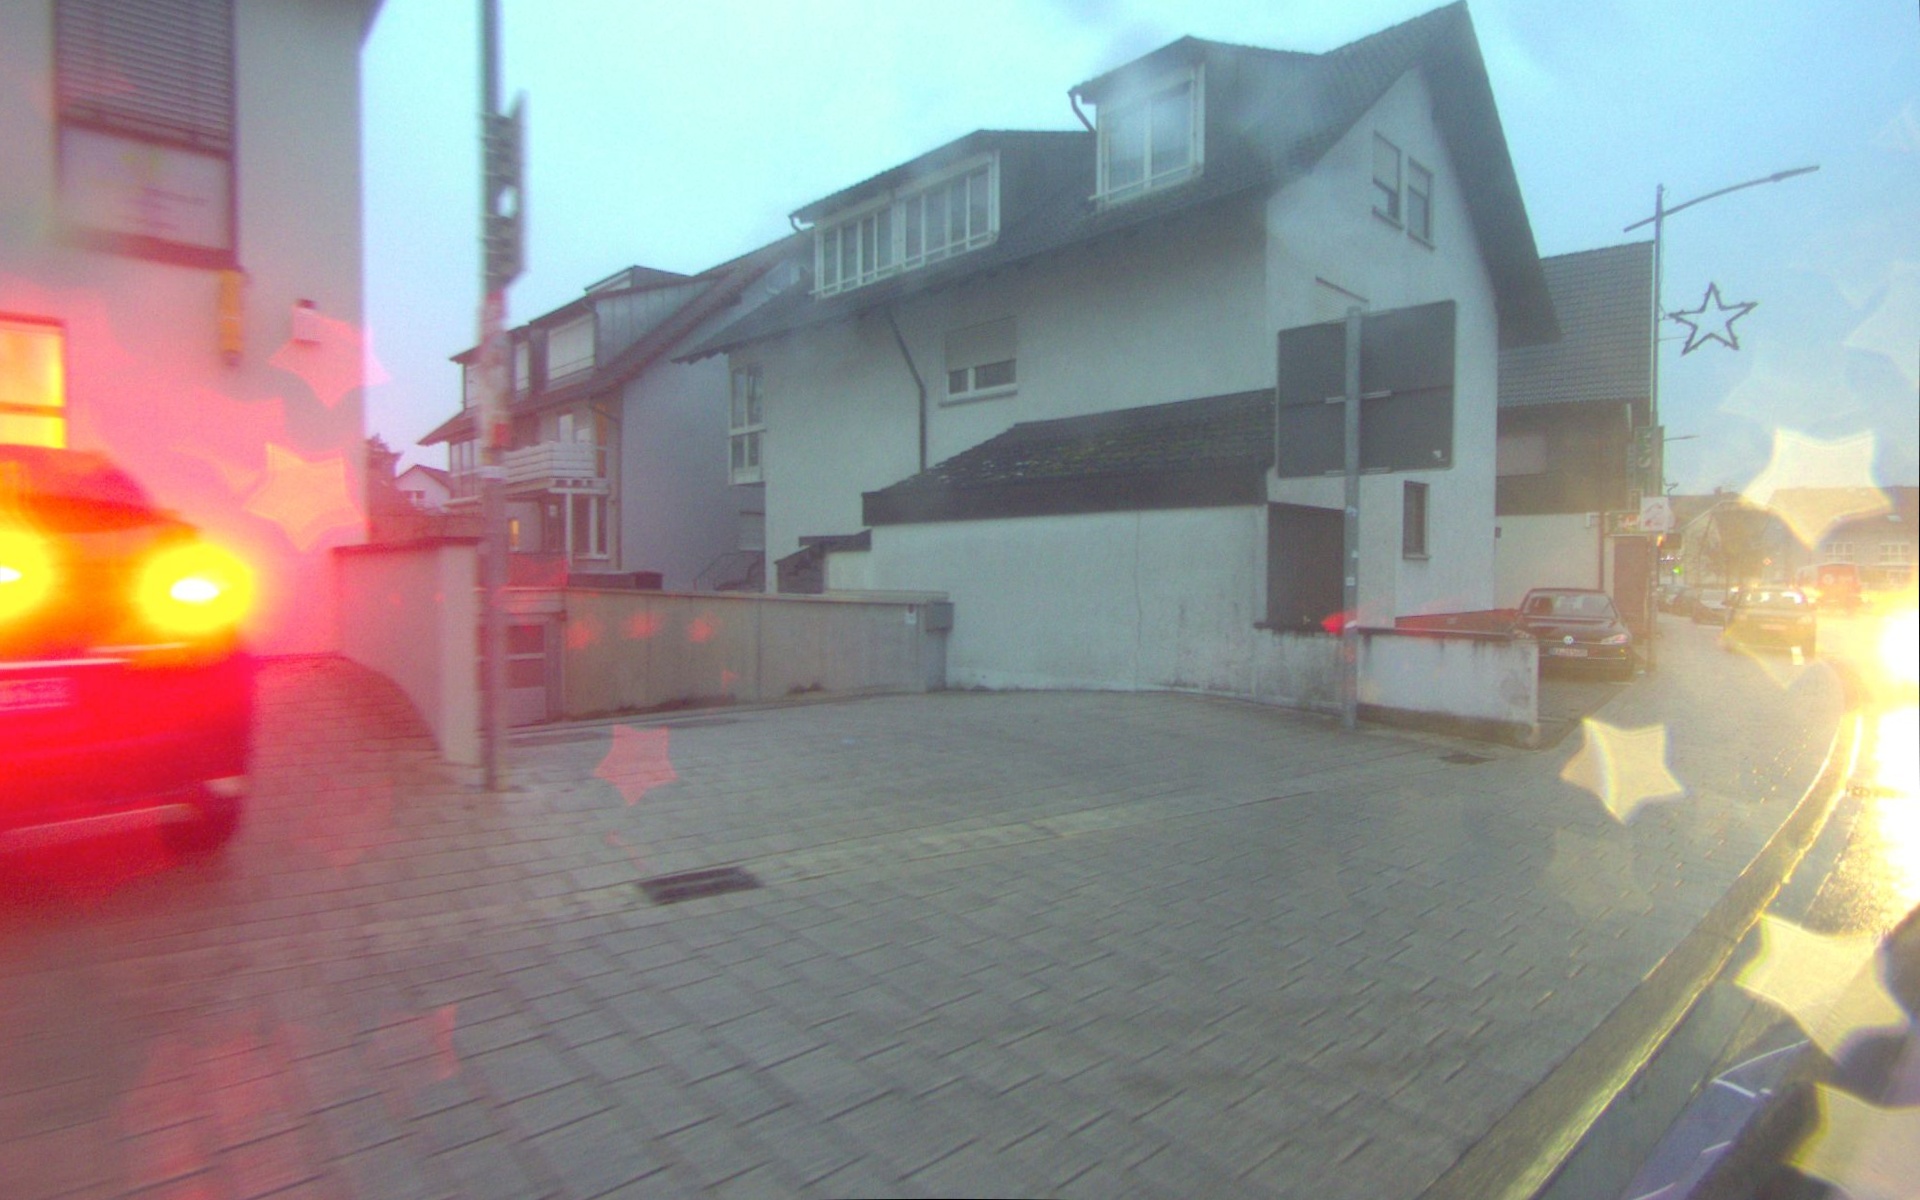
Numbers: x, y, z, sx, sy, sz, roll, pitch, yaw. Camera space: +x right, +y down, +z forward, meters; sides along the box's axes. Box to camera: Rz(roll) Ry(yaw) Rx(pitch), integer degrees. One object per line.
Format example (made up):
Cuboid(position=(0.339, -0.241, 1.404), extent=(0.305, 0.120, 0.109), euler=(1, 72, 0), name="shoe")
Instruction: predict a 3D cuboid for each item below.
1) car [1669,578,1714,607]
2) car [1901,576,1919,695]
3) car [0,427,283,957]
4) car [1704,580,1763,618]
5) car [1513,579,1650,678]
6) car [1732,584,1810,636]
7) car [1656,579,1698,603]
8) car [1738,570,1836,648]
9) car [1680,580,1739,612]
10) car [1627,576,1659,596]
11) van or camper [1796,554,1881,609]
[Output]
Cuboid(position=(42.775, -0.487, 59.254), extent=(1.656, 1.595, 4.449), euler=(1, 2, 30), name="car")
Cuboid(position=(15.735, 0.499, 15.351), extent=(1.899, 1.660, 4.500), euler=(2, 3, 40), name="car")
Cuboid(position=(-4.683, 0.061, 4.586), extent=(4.180, 1.657, 1.776), euler=(11, 7, 43), name="car")
Cuboid(position=(33.844, -0.071, 44.373), extent=(1.646, 1.472, 4.189), euler=(4, 3, 32), name="car")
Cuboid(position=(10.663, 0.394, 17.494), extent=(1.757, 1.410, 3.872), euler=(3, 3, 31), name="car")
Cuboid(position=(24.936, 0.259, 31.193), extent=(1.641, 1.433, 2.692), euler=(4, 3, 36), name="car")
Cuboid(position=(46.868, -0.593, 66.249), extent=(1.693, 1.469, 4.150), euler=(2, 2, 28), name="car")
Cuboid(position=(21.638, 0.173, 26.494), extent=(1.768, 1.803, 3.942), euler=(5, 4, 40), name="car")
Cuboid(position=(39.428, -0.255, 53.343), extent=(1.946, 1.552, 4.956), euler=(-2, 0, 30), name="car")
Cuboid(position=(56.342, -1.153, 83.488), extent=(1.798, 1.583, 4.261), euler=(2, 2, 29), name="car")
Cuboid(position=(46.481, -0.993, 53.733), extent=(2.230, 2.702, 6.483), euler=(2, 2, 31), name="van or camper")
